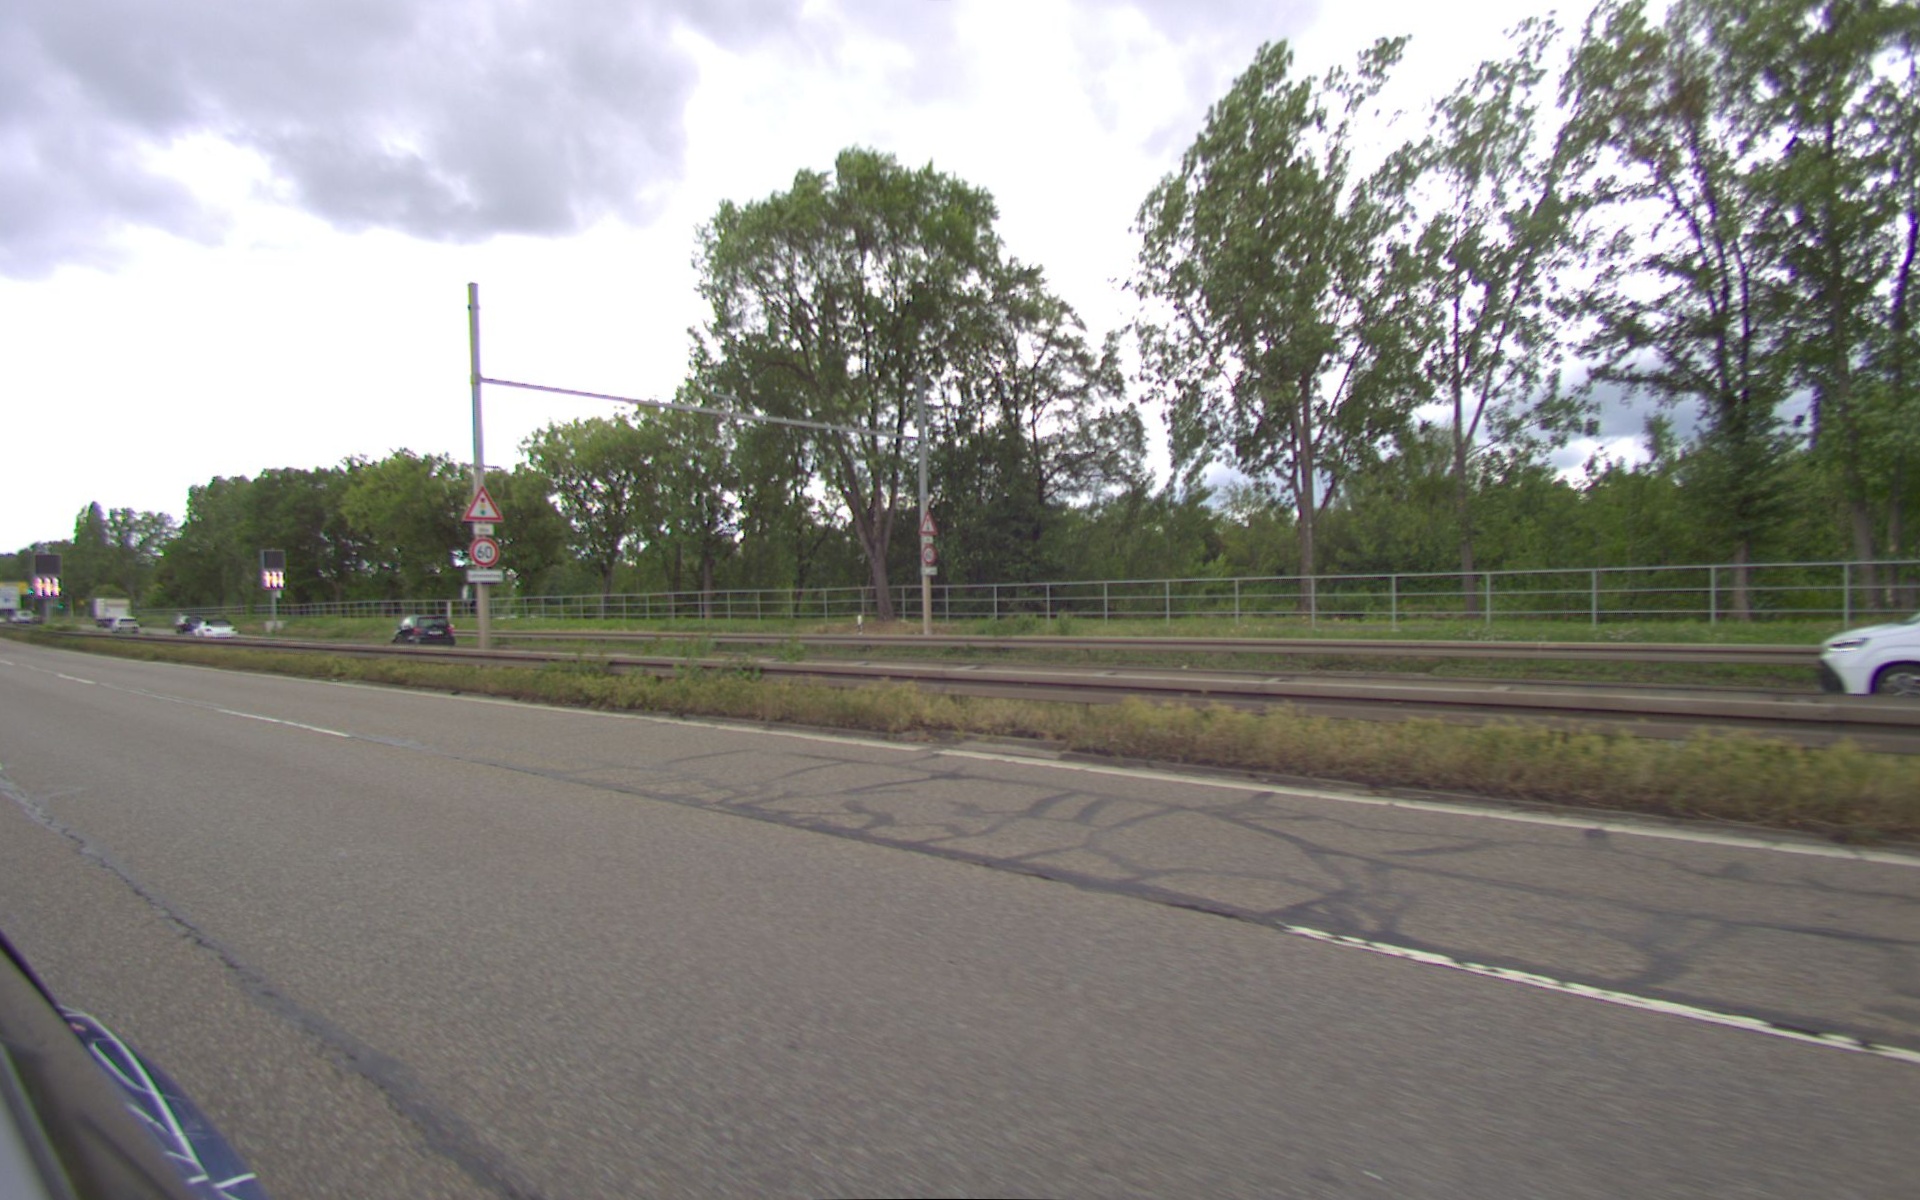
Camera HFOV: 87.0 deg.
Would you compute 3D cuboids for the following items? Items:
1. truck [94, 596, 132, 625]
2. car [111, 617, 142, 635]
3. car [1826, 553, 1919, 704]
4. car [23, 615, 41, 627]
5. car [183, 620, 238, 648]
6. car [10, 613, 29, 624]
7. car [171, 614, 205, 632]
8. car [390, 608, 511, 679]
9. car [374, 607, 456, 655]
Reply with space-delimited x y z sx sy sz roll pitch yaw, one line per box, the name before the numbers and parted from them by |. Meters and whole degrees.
truck | -108.620 1.396 129.729 9.592 3.606 2.856 -1 0 45
car | -80.267 2.515 97.453 4.538 1.617 1.679 -2 -2 43
car | 13.661 0.331 12.403 4.558 1.898 1.594 -1 -1 40
car | -148.441 3.317 161.856 1.857 1.738 4.148 -2 0 -45
car | -47.084 2.123 63.524 4.717 1.687 1.847 -2 -1 42
car | -164.995 3.277 177.498 5.476 1.962 2.200 -1 0 45
car | -68.953 2.084 90.367 4.042 1.617 1.707 -2 -2 43
car | -13.807 1.127 27.351 3.741 1.788 1.708 -1 -1 42
car | -21.410 1.203 39.688 3.741 1.788 1.708 -1 -1 42
